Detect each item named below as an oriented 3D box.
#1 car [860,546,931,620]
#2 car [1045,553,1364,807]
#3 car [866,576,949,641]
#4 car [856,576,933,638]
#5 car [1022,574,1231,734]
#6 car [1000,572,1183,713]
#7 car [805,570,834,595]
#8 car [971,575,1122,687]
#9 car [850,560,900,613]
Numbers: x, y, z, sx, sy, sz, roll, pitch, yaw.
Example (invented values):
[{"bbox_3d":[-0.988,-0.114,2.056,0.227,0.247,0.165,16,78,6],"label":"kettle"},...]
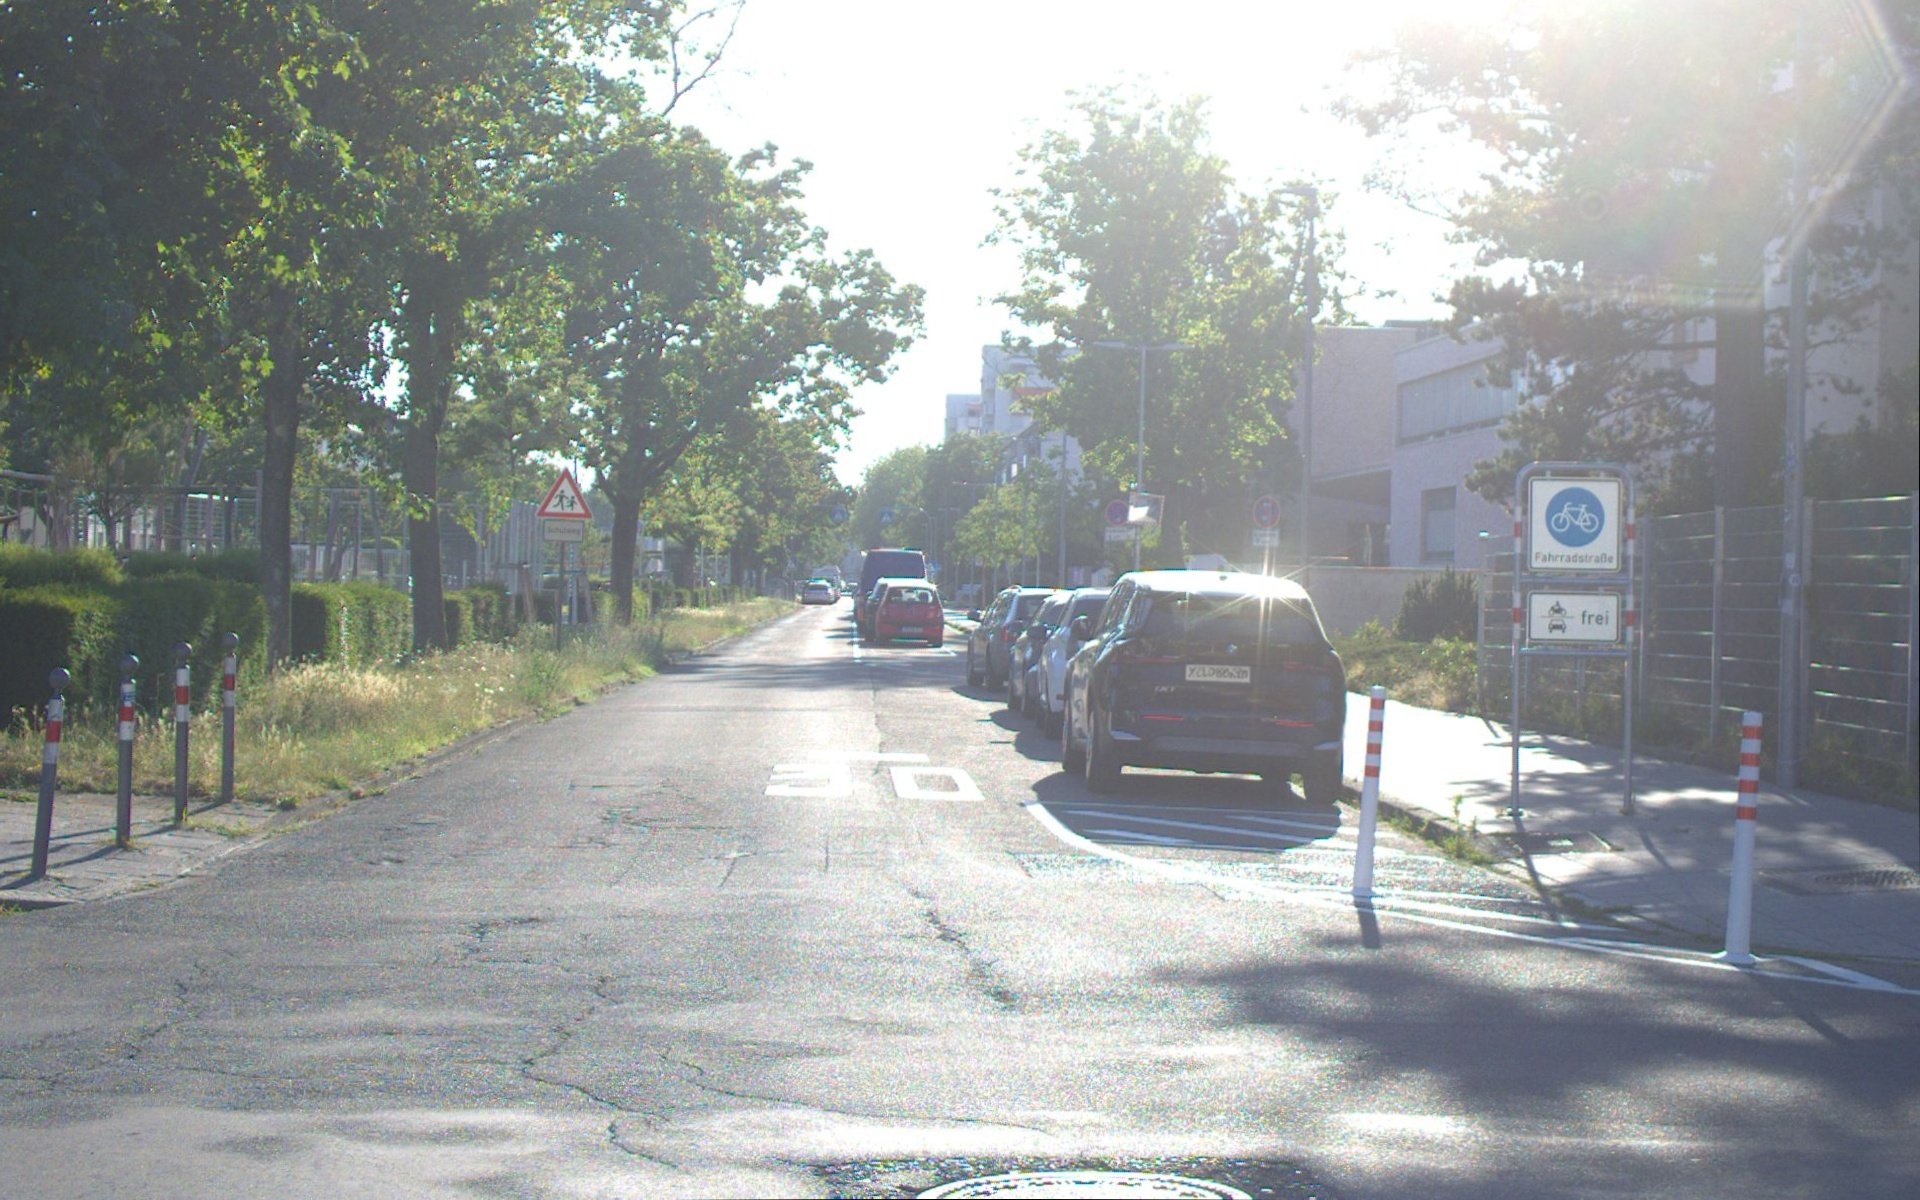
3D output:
[{"bbox_3d":[-1.911,-0.503,101.269,1.993,2.116,4.000,1,0,-2],"label":"car"},{"bbox_3d":[1.740,0.543,25.774,1.817,1.636,4.217,4,0,-2],"label":"car"},{"bbox_3d":[-1.288,0.194,83.517,1.756,1.513,3.761,1,0,-4],"label":"car"},{"bbox_3d":[-1.688,0.157,87.939,1.729,1.513,3.761,1,0,-4],"label":"car"},{"bbox_3d":[1.622,0.505,34.644,1.765,1.521,3.773,0,0,-2],"label":"car"},{"bbox_3d":[1.463,0.450,39.570,1.729,1.513,3.760,1,0,-3],"label":"car"},{"bbox_3d":[-9.464,-1.183,230.945,1.865,1.612,4.000,1,0,-3],"label":"car"},{"bbox_3d":[1.185,0.413,48.710,1.765,1.521,3.773,0,0,-4],"label":"car"},{"bbox_3d":[-3.485,-0.558,140.427,1.993,2.116,4.000,1,0,-2],"label":"car"}]
